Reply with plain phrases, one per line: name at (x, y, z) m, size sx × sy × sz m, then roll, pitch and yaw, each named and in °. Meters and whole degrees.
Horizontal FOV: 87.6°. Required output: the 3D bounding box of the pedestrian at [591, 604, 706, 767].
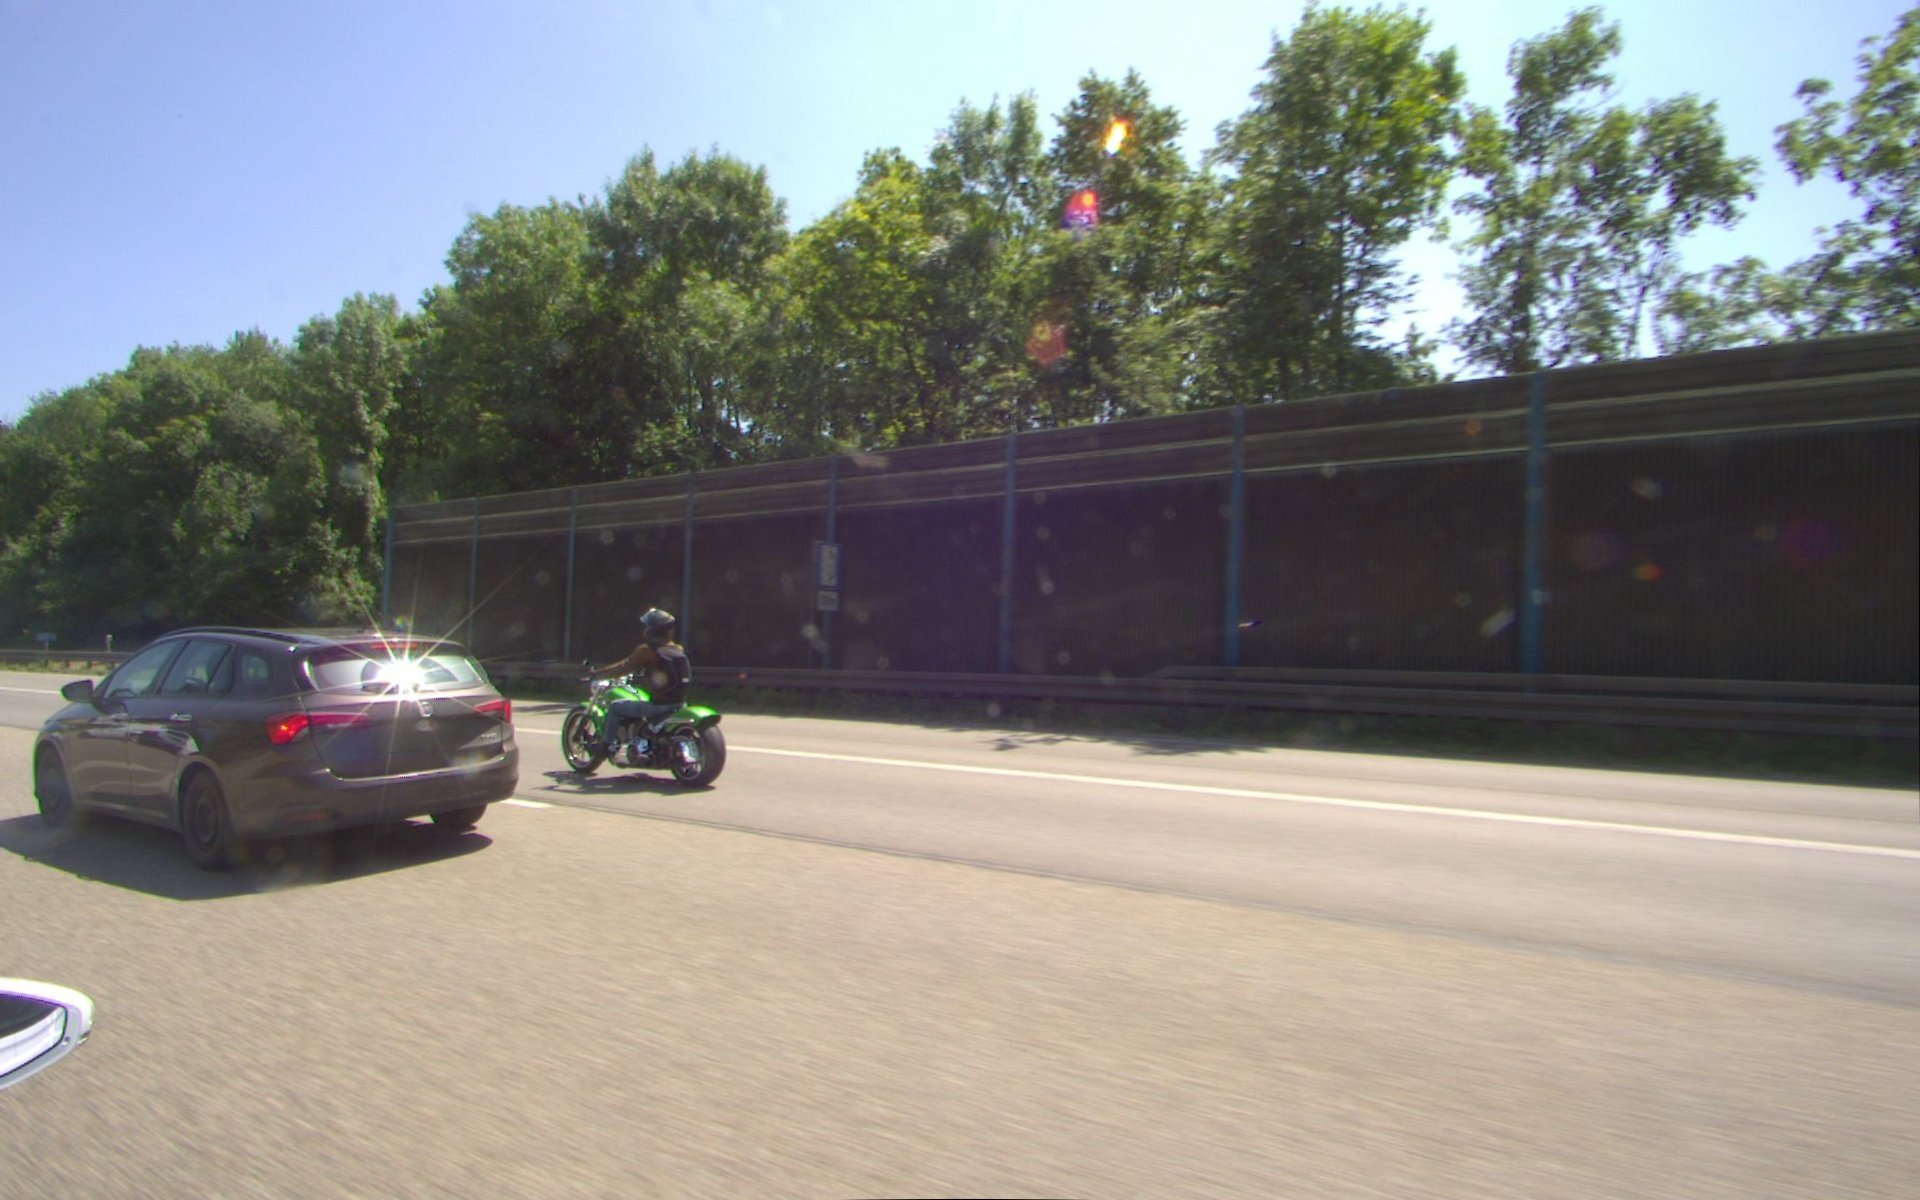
pedestrian at (-3.020, 0.801, 9.736) m, size 0.630 × 1.498 × 0.849 m, roll 0°, pitch -1°, yaw 36°

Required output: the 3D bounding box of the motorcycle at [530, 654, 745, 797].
motorcycle at (-3.219, 1.164, 9.880) m, size 2.246 × 1.197 × 0.857 m, roll 0°, pitch -1°, yaw 36°

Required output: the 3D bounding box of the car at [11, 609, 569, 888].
car at (-5.099, 0.859, 7.467) m, size 4.338 × 1.532 × 1.835 m, roll 0°, pitch -2°, yaw 32°
